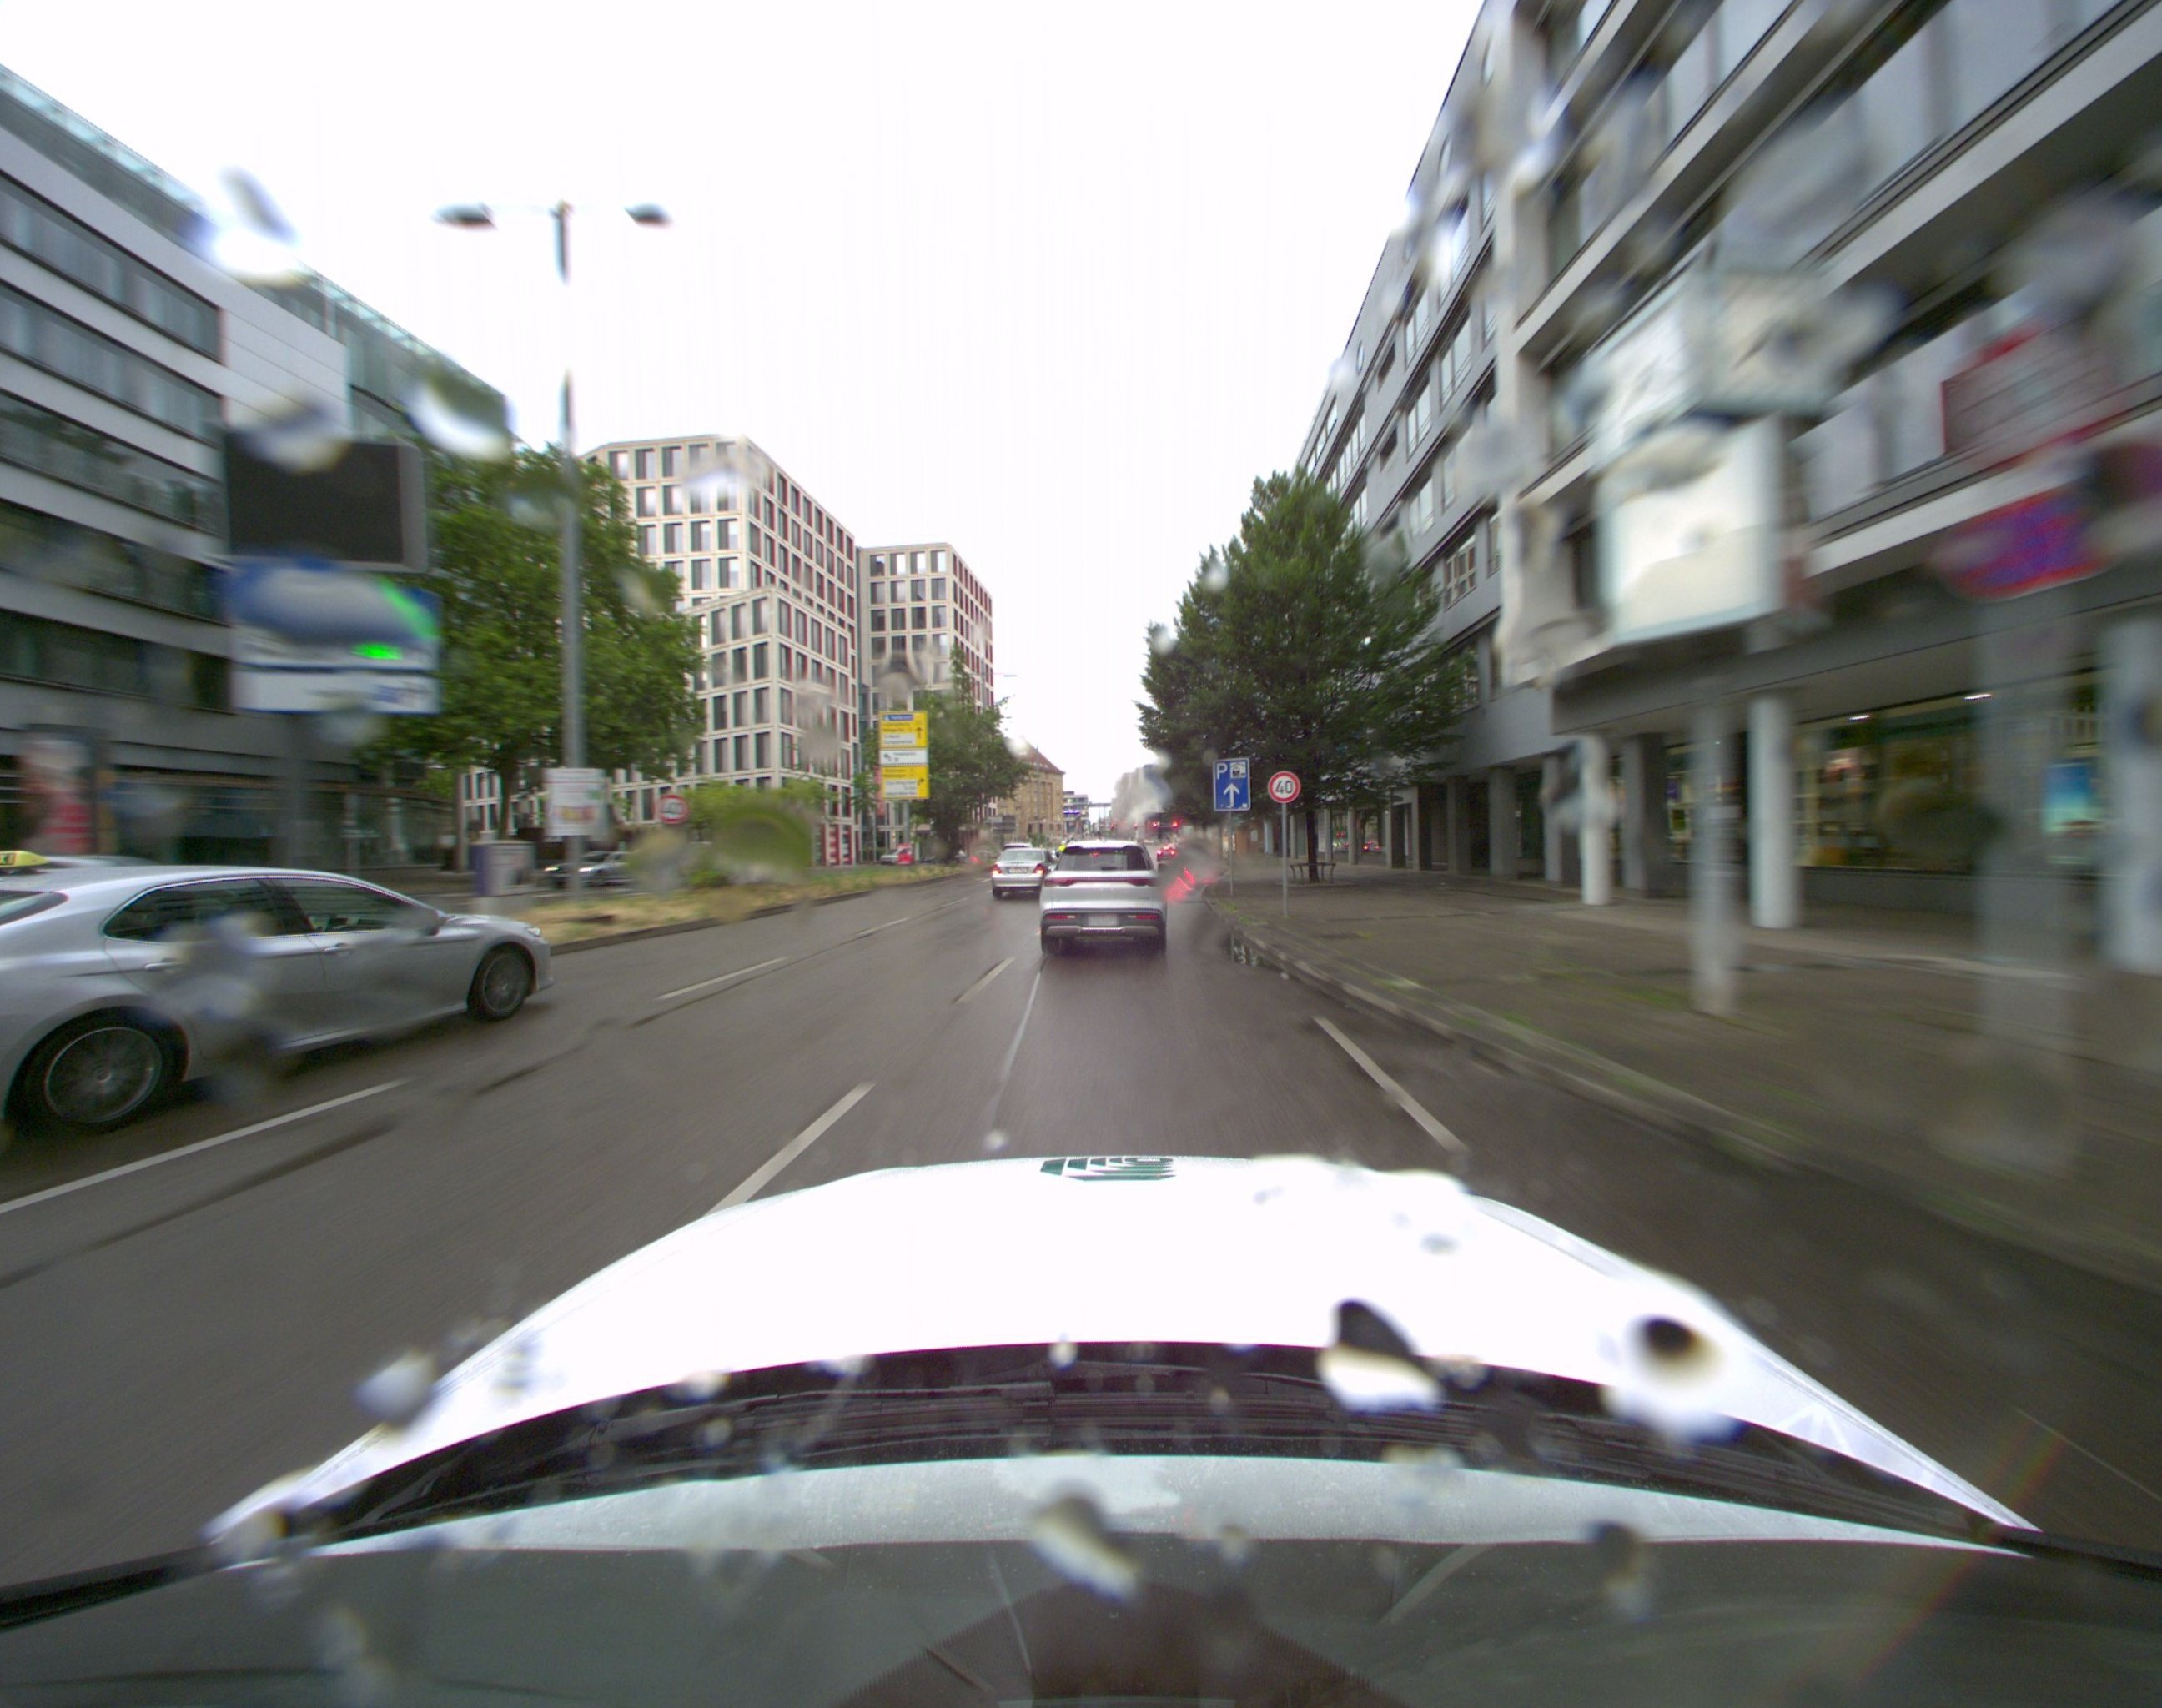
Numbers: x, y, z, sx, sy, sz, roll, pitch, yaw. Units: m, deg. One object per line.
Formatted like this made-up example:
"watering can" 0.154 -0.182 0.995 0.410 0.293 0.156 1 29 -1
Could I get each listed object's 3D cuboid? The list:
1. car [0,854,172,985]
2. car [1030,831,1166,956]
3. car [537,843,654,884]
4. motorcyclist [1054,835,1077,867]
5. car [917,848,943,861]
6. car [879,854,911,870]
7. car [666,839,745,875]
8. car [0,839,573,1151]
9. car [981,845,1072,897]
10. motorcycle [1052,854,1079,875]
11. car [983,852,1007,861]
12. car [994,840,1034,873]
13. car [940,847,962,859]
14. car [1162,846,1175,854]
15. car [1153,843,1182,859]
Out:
"car" -12.986 0.730 8.815 1.745 1.464 3.972 0 -1 1
"car" 0.345 0.547 12.918 1.800 1.661 4.174 0 -1 3
"car" -20.290 0.350 34.300 1.984 1.618 4.488 0 1 4
"motorcyclist" -0.713 -0.125 38.520 0.936 1.475 1.102 0 -1 7
"car" -16.784 0.066 90.608 1.689 1.424 3.962 -2 0 6
"car" -18.006 0.748 79.063 1.689 1.424 4.381 -2 0 6
"car" -22.064 0.202 48.106 1.984 2.014 4.923 0 -1 5
"car" -6.089 0.705 5.715 1.823 1.521 4.804 0 -1 3
"car" -1.540 0.485 24.538 1.722 1.404 4.395 0 -1 10
"motorcycle" -0.704 0.483 38.483 0.937 0.989 2.299 0 0 7
"car" -15.821 0.446 149.967 4.382 1.662 1.993 0 -1 -11
"car" -3.390 0.124 41.725 1.727 1.616 3.999 0 -1 0
"car" -15.916 -0.088 100.115 1.689 1.424 3.962 -2 0 6
"car" 20.965 -1.030 194.817 1.996 1.816 3.980 0 -1 -14
"car" 8.679 -0.281 81.634 1.875 1.544 4.013 0 -1 21
